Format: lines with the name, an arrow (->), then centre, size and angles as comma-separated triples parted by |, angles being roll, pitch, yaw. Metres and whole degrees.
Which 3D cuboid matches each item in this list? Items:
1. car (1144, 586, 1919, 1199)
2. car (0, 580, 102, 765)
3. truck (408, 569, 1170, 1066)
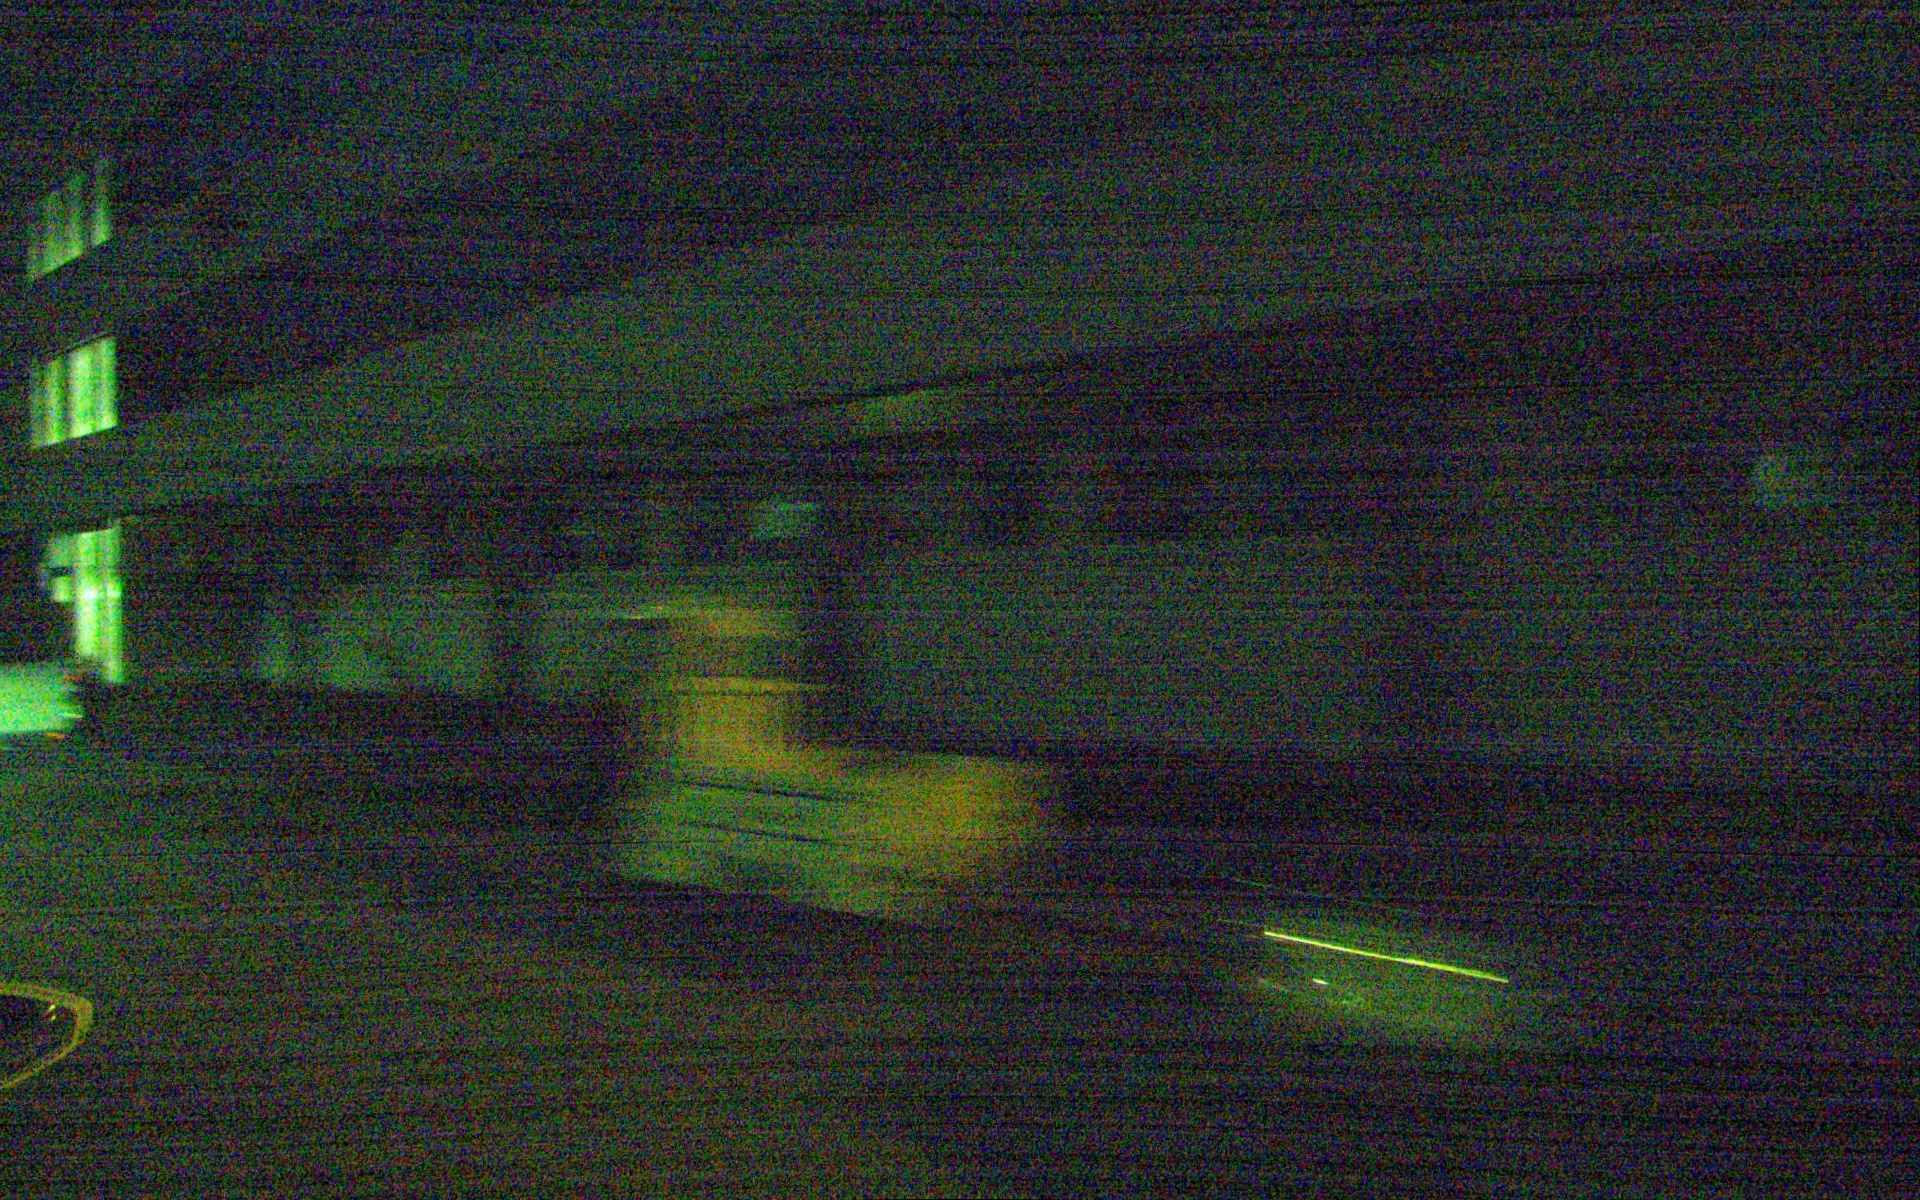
car -> 3.061, 0.723, 2.076 | 4.944, 1.509, 1.940 | -1, 0, 36
car -> -12.696, 0.836, 12.296 | 4.843, 2.040, 1.989 | -1, 0, 33
truck -> -1.003, 0.765, 4.943 | 3.758, 1.666, 1.367 | -1, 0, 32
